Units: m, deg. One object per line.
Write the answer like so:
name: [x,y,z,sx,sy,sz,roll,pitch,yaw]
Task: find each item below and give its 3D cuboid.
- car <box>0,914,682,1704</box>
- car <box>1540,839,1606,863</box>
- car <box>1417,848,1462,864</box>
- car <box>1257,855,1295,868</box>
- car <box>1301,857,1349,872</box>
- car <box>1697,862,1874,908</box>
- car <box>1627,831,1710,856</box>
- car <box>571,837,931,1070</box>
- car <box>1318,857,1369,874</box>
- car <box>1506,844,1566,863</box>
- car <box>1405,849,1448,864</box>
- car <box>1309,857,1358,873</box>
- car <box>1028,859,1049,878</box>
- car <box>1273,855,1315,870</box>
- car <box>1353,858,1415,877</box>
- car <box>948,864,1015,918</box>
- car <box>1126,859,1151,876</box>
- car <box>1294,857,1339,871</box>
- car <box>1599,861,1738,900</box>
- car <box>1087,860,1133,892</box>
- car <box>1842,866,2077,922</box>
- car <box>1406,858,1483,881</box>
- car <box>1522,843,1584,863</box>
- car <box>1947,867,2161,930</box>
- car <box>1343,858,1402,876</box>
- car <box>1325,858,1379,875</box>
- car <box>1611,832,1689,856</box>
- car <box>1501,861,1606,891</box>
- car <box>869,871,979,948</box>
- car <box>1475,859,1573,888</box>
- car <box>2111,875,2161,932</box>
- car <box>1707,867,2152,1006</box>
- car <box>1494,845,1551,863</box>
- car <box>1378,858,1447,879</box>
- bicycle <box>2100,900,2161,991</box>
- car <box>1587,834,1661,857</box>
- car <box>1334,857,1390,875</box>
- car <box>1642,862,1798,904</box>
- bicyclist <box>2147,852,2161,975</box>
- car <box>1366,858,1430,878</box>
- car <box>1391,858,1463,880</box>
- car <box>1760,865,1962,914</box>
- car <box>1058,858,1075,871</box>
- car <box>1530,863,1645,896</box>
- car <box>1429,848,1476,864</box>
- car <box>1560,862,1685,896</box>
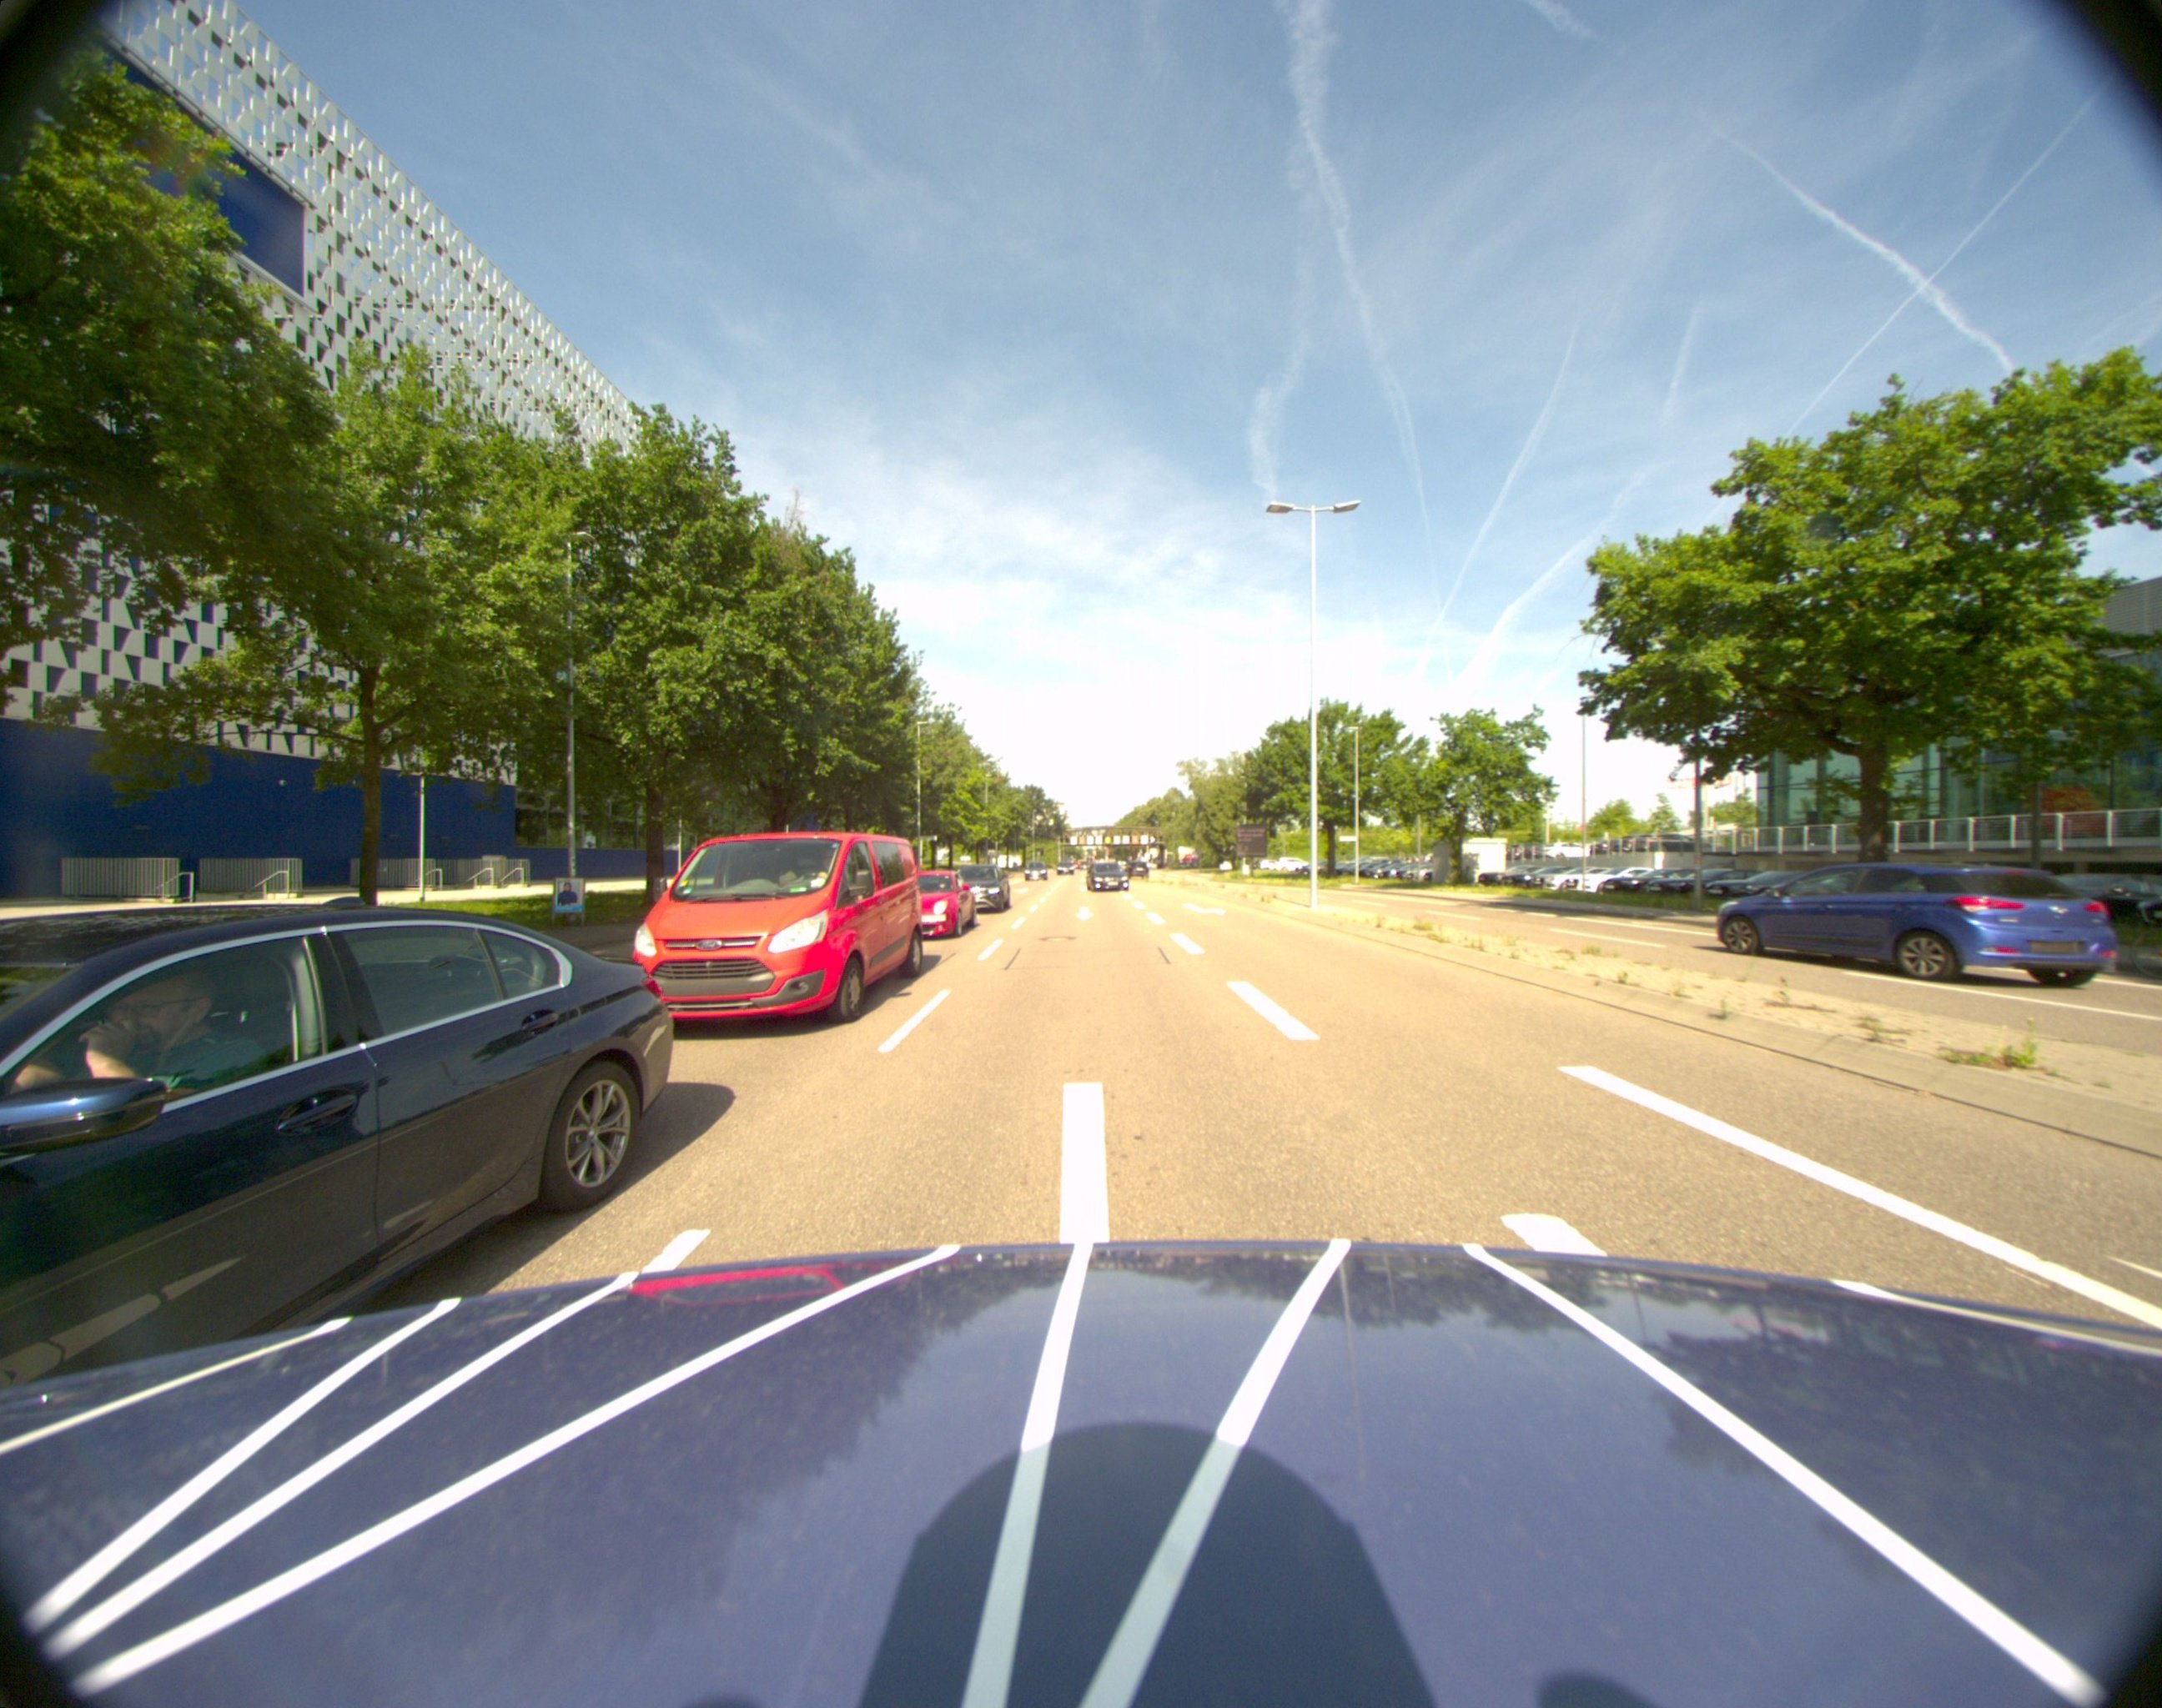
car: [-3.134,1.054,1.960,1.800,1.420,4.538,-1,0,0]
car: [40.143,-0.218,62.068,4.196,1.722,1.690,3,0,1]
car: [40.190,0.229,85.308,4.196,1.490,1.690,3,0,1]
car: [23.671,0.939,92.436,4.196,1.370,1.690,3,0,1]
car: [24.489,1.076,76.418,4.196,1.315,1.690,3,0,1]
car: [23.300,1.011,25.237,4.196,1.247,1.690,3,0,1]
car: [39.793,-0.699,51.521,4.196,1.397,1.690,3,0,1]
car: [-3.239,0.845,8.774,2.014,1.896,4.810,-2,0,0]
car: [24.620,1.064,71.370,4.196,1.315,1.690,3,0,1]
car: [40.162,-0.045,67.061,4.196,1.490,1.690,3,0,1]
car: [40.401,0.270,88.863,4.196,1.490,1.690,3,0,1]
car: [24.560,1.099,73.917,4.196,1.315,1.690,3,0,1]
car: [-3.573,1.205,64.555,1.649,1.453,3.999,-2,0,-2]
car: [23.692,0.948,84.650,4.196,1.490,1.690,3,0,1]
car: [24.121,1.069,60.602,4.196,1.315,1.690,3,0,1]
car: [-3.181,1.138,24.861,1.649,1.530,4.000,-3,0,-1]
car: [5.021,1.176,66.988,1.866,1.503,4.000,0,0,-1]
car: [24.534,1.043,79.208,4.196,1.315,1.690,3,0,1]
car: [23.545,1.032,30.569,4.196,1.291,1.690,3,0,1]
car: [1.412,1.073,38.809,1.883,1.513,4.867,-2,0,-3]
car: [23.287,1.033,20.257,4.196,1.188,1.690,3,0,1]
car: [24.044,1.028,50.368,4.196,1.315,1.690,3,0,1]
car: [40.160,-0.065,64.726,4.196,1.490,1.690,3,0,1]
car: [23.372,1.038,17.759,4.196,1.239,1.690,3,0,1]
car: [24.221,1.055,63.133,4.196,1.315,1.690,3,0,1]
car: [24.456,1.080,68.684,4.196,1.315,1.690,3,0,1]
car: [40.473,-0.679,54.145,4.196,1.490,1.690,3,0,1]
car: [23.732,1.077,38.262,4.196,1.239,1.690,3,0,1]
car: [-3.374,1.147,17.051,1.692,1.414,3.915,-1,0,-1]
car: [23.696,1.044,40.731,4.196,1.315,1.690,3,0,1]
car: [23.541,1.086,14.899,4.196,1.116,1.719,3,0,1]
car: [10.985,0.951,10.351,1.732,1.430,3.870,2,0,1]
car: [40.260,0.001,69.350,4.196,1.490,1.690,3,0,1]
car: [24.020,1.051,55.129,4.196,1.315,1.690,3,0,1]
bicycle: [14.211,1.198,9.509,0.572,1.143,1.770,1,0,3]
car: [40.588,-0.642,56.877,4.196,1.490,1.690,3,0,1]
car: [24.454,1.054,66.148,4.196,1.315,1.690,3,0,1]
car: [23.400,1.039,27.933,4.196,1.252,1.690,3,0,1]
bicyclist: [14.214,0.770,9.450,0.578,1.587,0.911,1,0,3]
car: [24.172,1.078,58.023,4.196,1.315,1.690,3,0,1]
car: [24.071,1.052,52.914,4.196,1.315,1.690,3,0,1]
car: [23.187,1.031,22.712,4.196,1.198,1.690,3,0,1]
car: [-1.629,1.194,86.897,1.848,1.530,4.000,0,0,0]
car: [23.704,1.180,35.662,4.196,1.317,1.690,3,0,1]
car: [40.419,0.216,82.764,4.196,1.490,1.690,3,0,1]
car: [23.614,1.081,33.257,4.196,1.248,1.690,3,0,1]
